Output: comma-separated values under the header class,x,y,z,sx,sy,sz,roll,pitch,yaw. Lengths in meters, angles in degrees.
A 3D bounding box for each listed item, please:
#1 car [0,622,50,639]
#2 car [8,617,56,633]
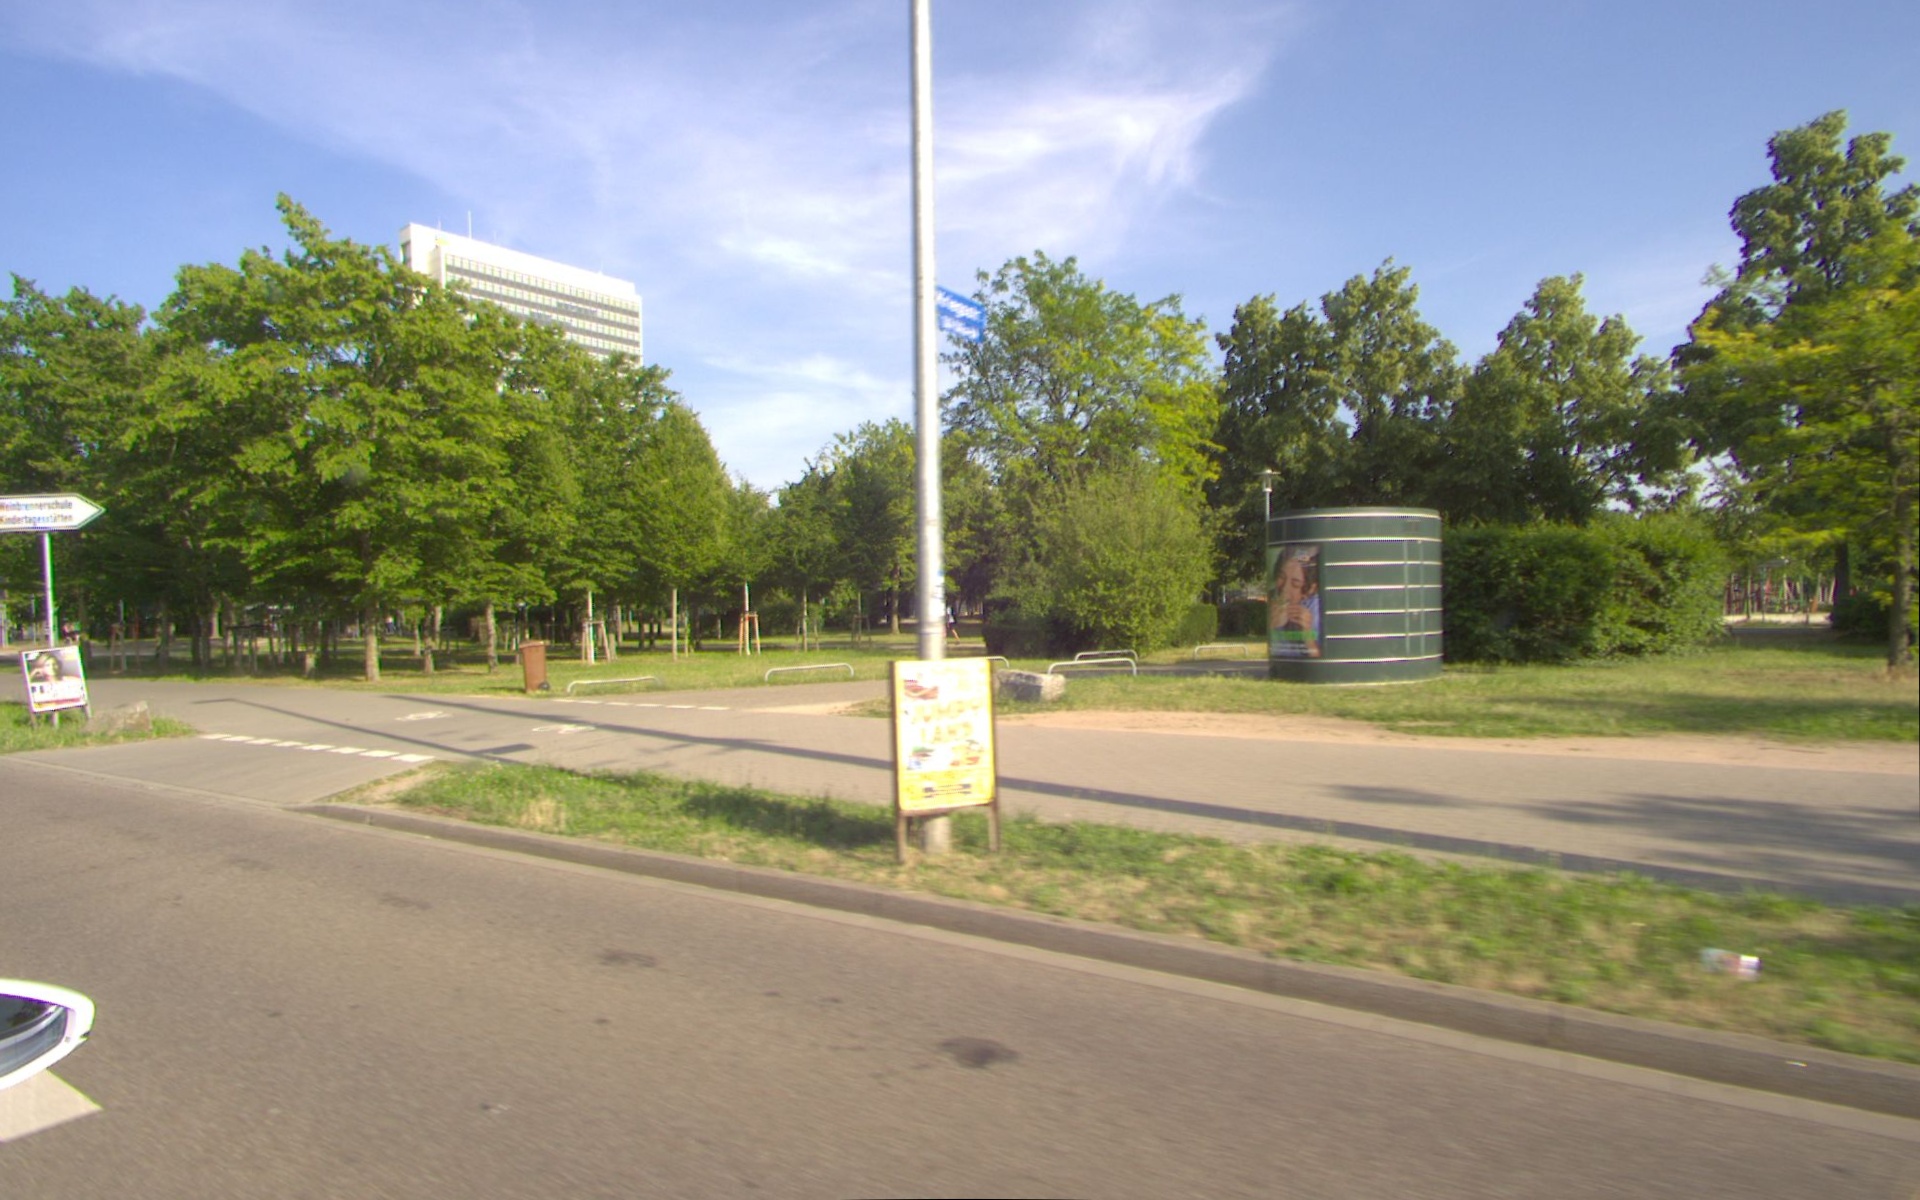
class,x,y,z,sx,sy,sz,roll,pitch,yaw
car,-101.839,3.282,108.844,1.961,1.673,3.999,-1,0,6
car,-105.322,2.800,113.724,3.959,1.673,1.981,-1,0,-43
